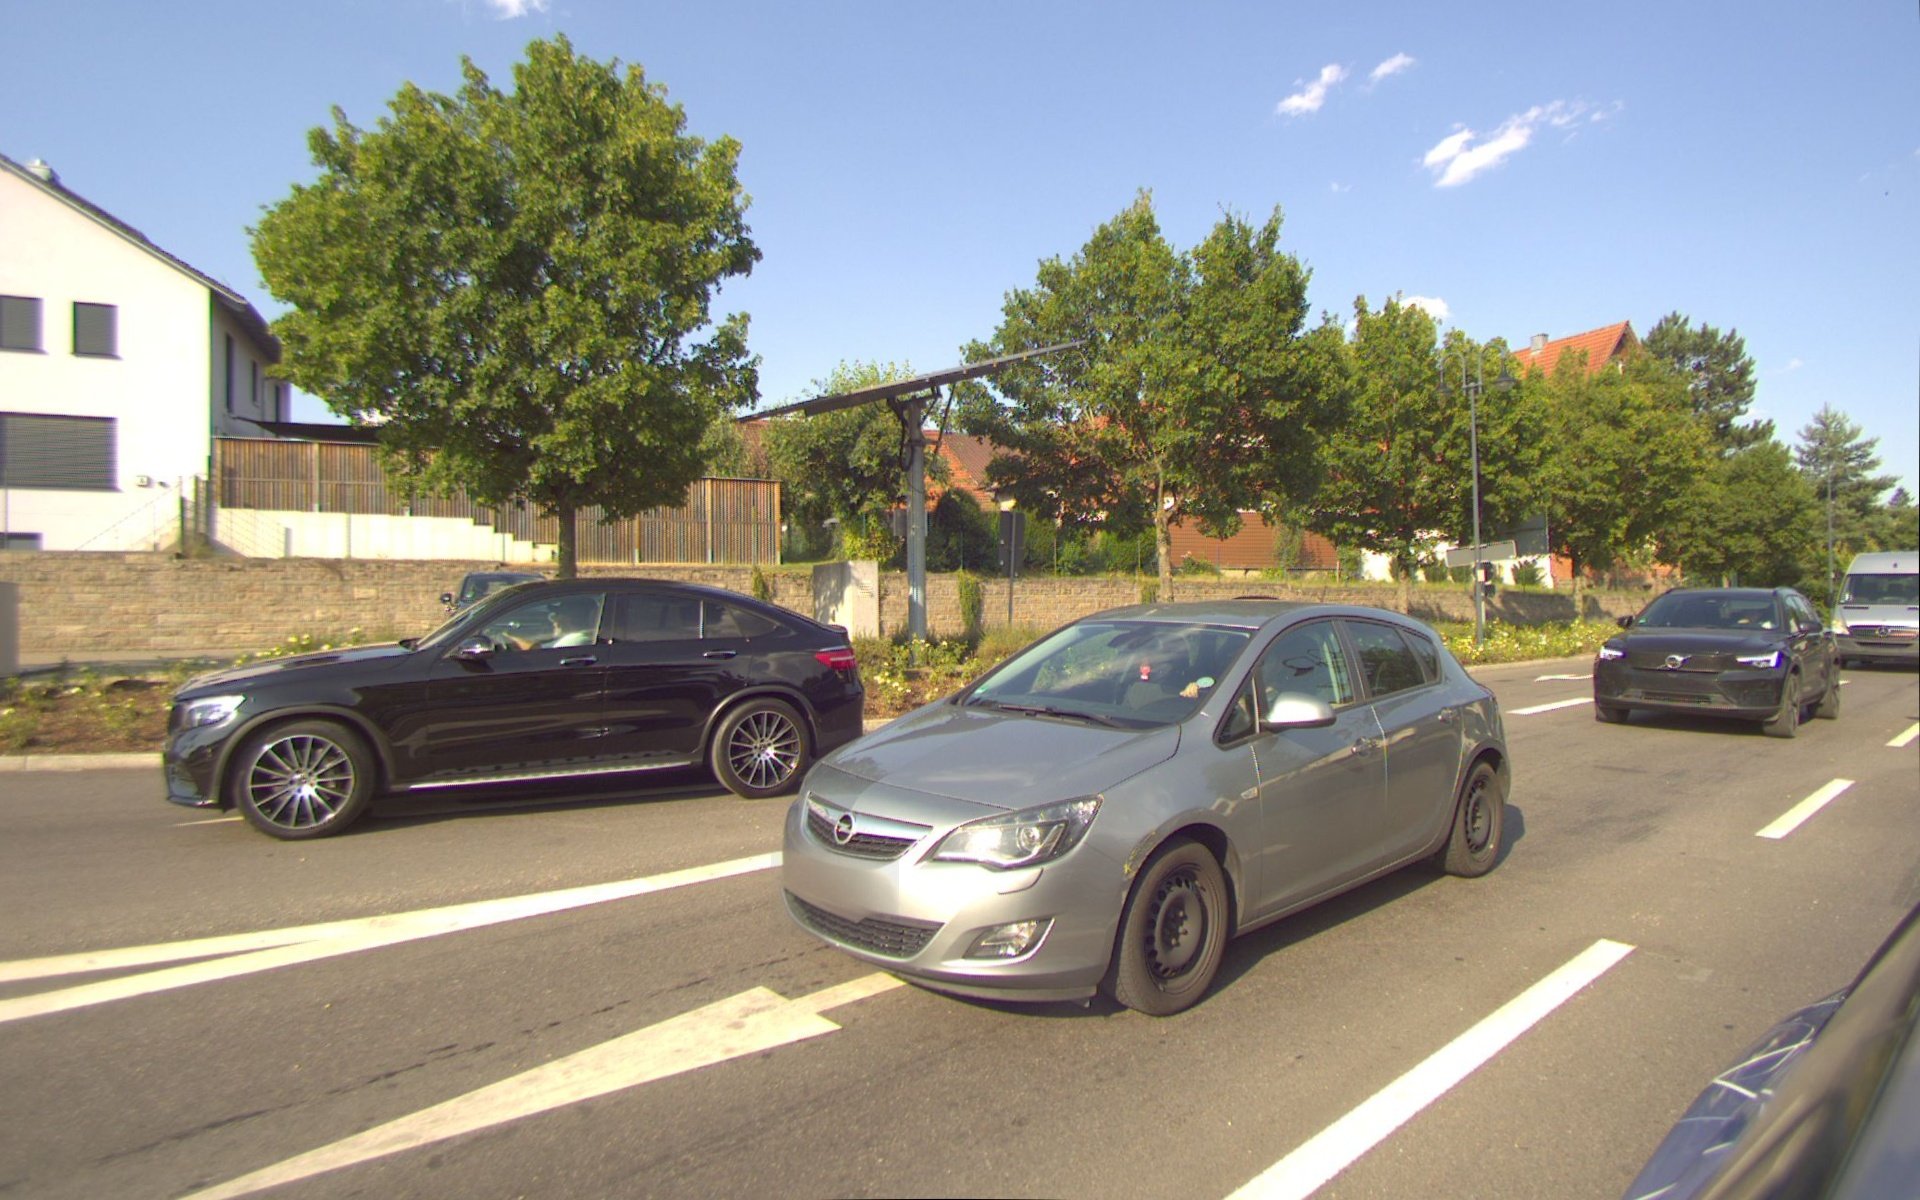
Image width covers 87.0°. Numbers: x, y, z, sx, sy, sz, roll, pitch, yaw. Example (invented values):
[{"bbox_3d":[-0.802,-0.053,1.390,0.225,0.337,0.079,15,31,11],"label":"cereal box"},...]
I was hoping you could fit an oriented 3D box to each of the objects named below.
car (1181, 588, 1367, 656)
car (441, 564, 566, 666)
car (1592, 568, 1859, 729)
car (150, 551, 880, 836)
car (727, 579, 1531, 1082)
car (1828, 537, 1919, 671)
[{"bbox_3d":[7.219,0.475,23.656,1.714,1.449,4.002,0,0,-32],"label":"car"},{"bbox_3d":[-7.681,0.216,16.834,1.644,1.475,4.085,0,0,-28],"label":"car"},{"bbox_3d":[9.310,0.485,12.195,3.985,1.626,1.790,0,0,-41],"label":"car"},{"bbox_3d":[-2.986,0.493,7.479,4.403,1.586,1.848,0,1,-28],"label":"car"},{"bbox_3d":[1.106,0.651,4.899,4.072,1.440,1.650,0,1,-41],"label":"car"},{"bbox_3d":[21.511,0.071,22.818,6.533,2.691,2.038,0,0,-41],"label":"car"}]
